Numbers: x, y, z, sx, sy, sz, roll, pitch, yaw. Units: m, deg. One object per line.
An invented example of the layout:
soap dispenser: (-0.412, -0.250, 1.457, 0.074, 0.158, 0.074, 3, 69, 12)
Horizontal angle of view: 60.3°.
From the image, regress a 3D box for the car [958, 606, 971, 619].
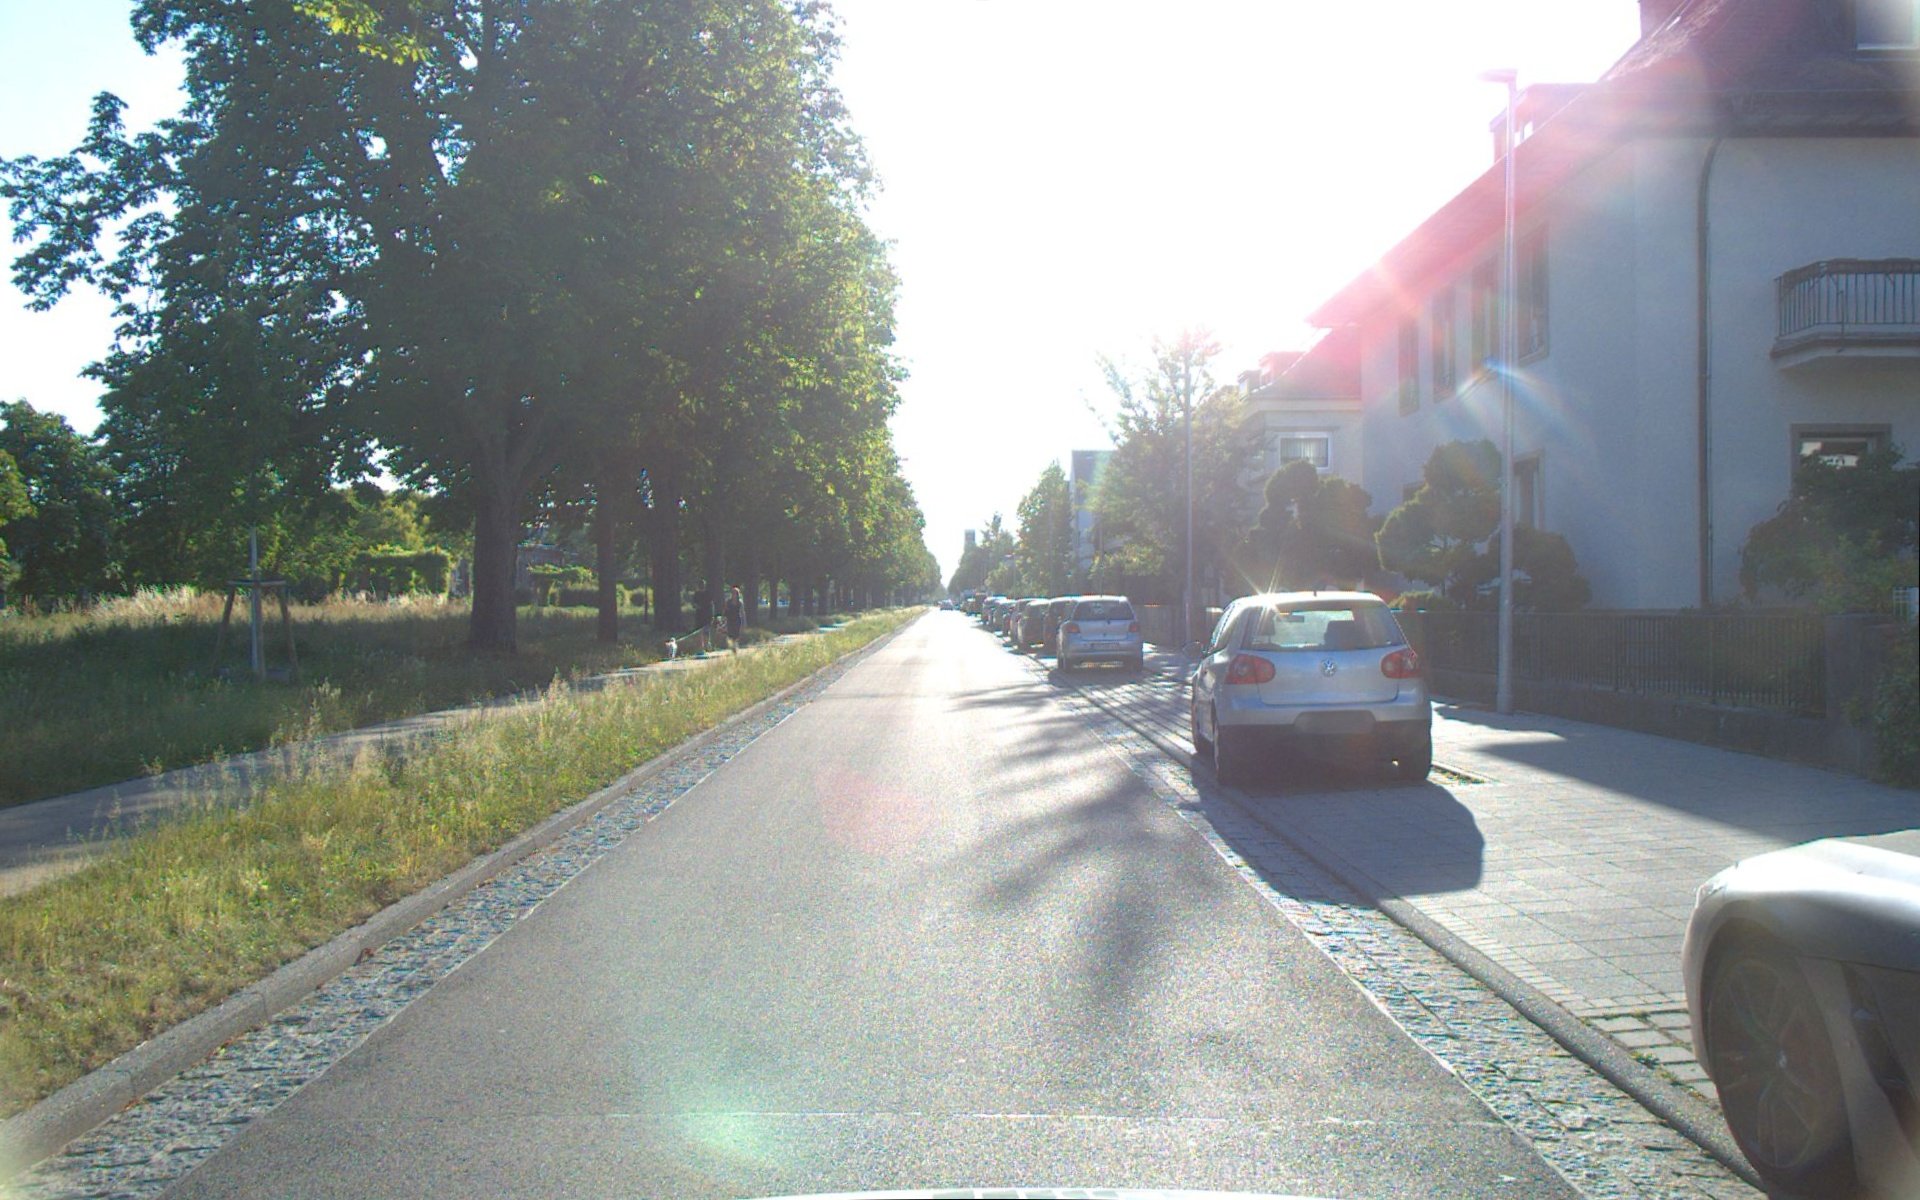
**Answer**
car: (0.571, 1.532, 208.360, 1.618, 1.568, 3.266, 1, 0, 1)

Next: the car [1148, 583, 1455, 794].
car: (2.806, 0.669, 14.455, 1.709, 1.500, 3.921, -3, 0, -2)

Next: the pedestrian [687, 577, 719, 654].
pedestrian: (-6.285, 0.368, 40.515, 0.611, 1.863, 0.886, 0, 0, 3)

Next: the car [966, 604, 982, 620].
car: (1.386, 1.174, 164.120, 1.618, 1.568, 3.266, 1, 0, 1)

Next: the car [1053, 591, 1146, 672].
car: (2.845, 0.618, 34.409, 1.594, 1.531, 3.633, -2, 0, 0)

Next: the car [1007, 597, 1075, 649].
car: (2.444, 0.691, 50.635, 1.701, 1.474, 4.195, -2, -1, -2)

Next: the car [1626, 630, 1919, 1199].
car: (2.991, 0.776, 3.069, 1.738, 1.311, 4.272, -3, 1, 0)

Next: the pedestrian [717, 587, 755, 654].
pedestrian: (-5.496, 0.496, 40.666, 0.767, 1.643, 0.952, 0, 0, 3)

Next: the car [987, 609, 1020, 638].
car: (2.166, 1.171, 83.467, 1.618, 1.421, 3.266, -1, 0, 0)

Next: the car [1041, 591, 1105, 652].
car: (3.019, 0.565, 44.615, 1.623, 1.520, 3.717, -2, -1, 3)

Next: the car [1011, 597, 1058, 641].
car: (2.680, 0.684, 60.365, 1.560, 1.536, 3.591, -1, 0, 0)

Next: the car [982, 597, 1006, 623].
car: (2.095, 0.607, 102.559, 1.467, 1.594, 3.266, -1, 0, 1)

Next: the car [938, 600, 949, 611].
car: (-2.383, 0.786, 237.894, 1.618, 1.568, 3.266, 1, 0, -1)
